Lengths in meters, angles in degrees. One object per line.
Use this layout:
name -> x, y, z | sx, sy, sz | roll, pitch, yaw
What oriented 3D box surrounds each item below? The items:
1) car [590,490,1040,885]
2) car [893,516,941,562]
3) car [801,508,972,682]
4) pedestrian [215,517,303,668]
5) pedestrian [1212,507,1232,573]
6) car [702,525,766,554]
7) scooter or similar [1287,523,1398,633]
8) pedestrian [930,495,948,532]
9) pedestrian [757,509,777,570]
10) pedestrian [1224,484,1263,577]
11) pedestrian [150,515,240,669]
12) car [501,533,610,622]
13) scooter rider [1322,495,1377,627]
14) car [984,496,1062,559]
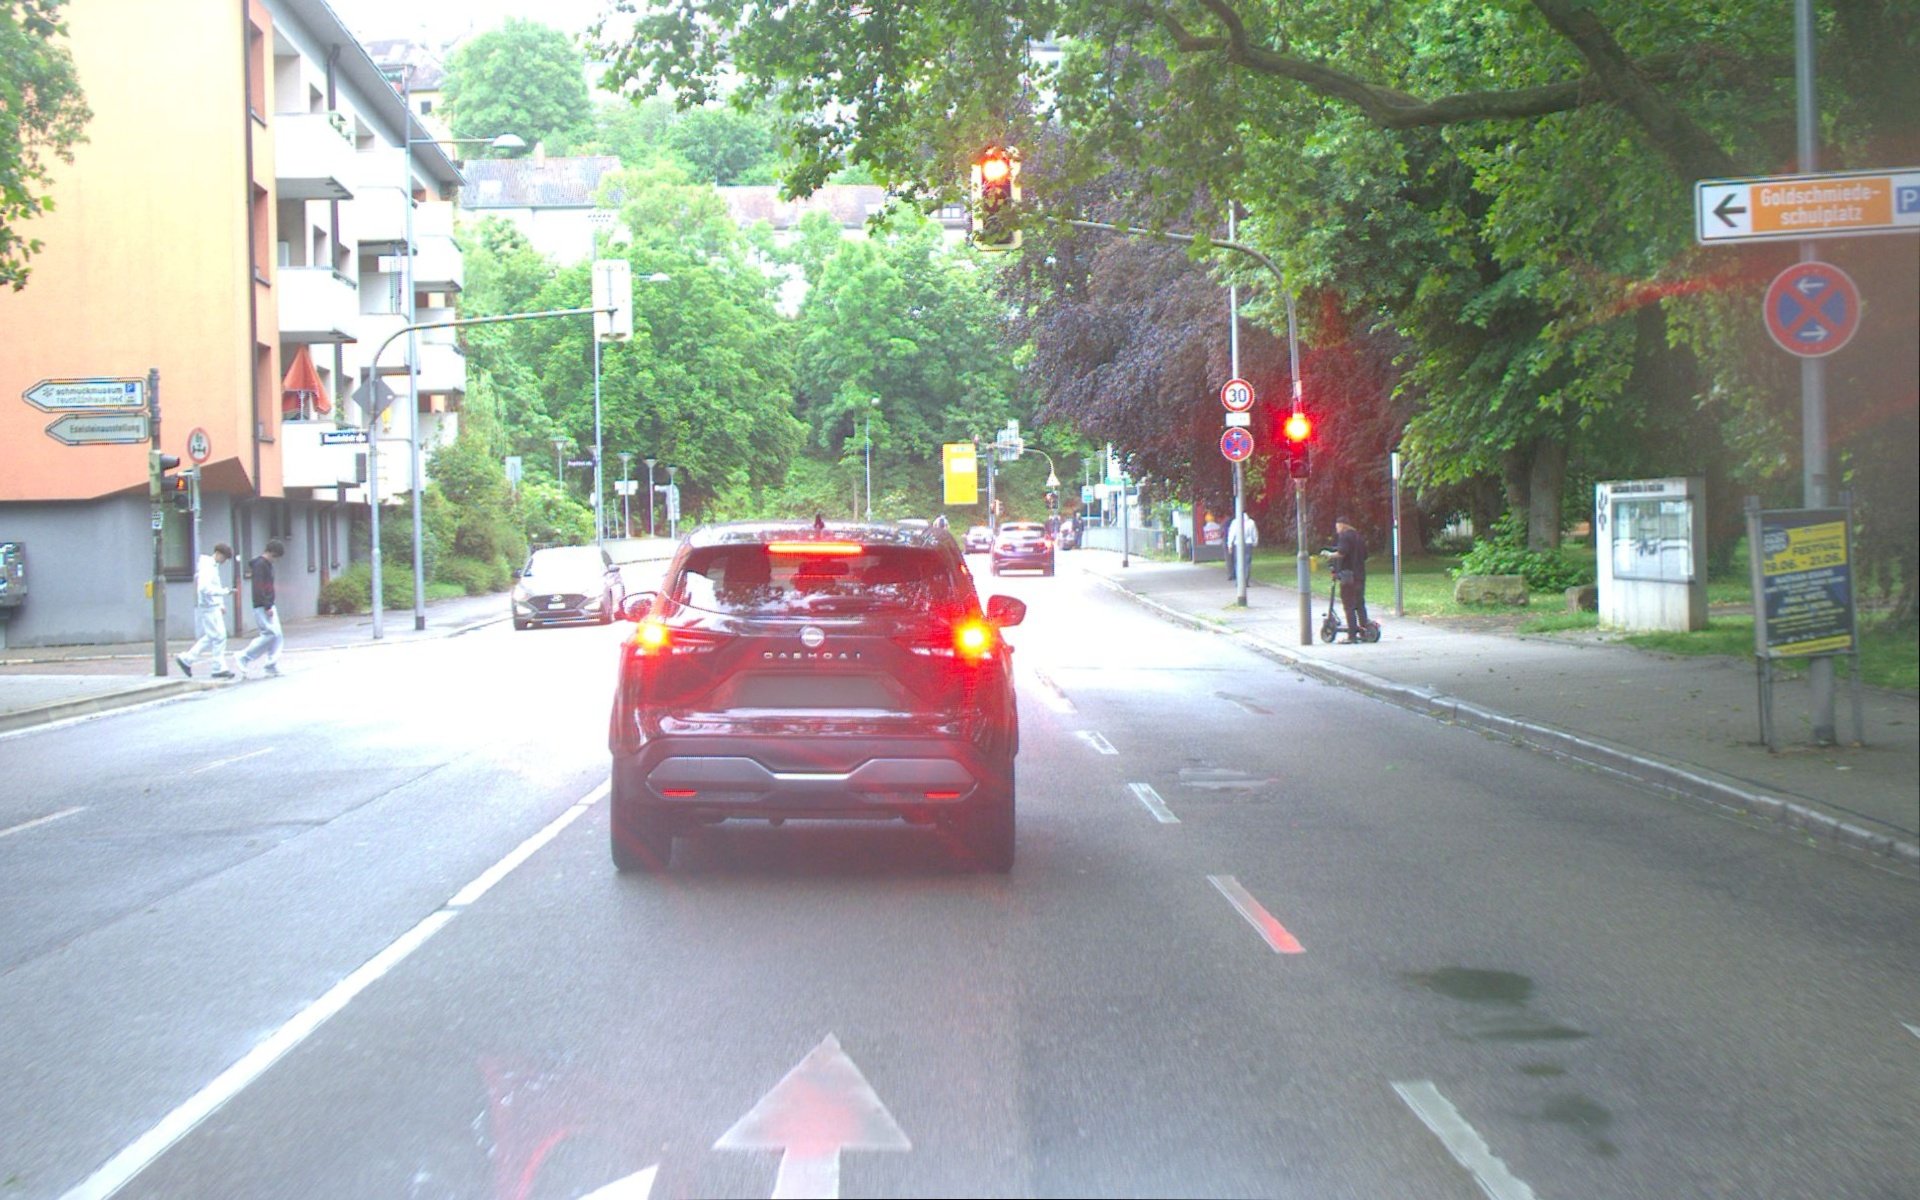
car -> -0.646, 0.326, 16.706 | 1.913, 1.674, 4.000 | 0, 1, -1
car -> -1.516, -2.165, 120.914 | 1.634, 1.527, 3.968 | -2, 1, -1
car -> -0.784, -0.097, 37.070 | 1.698, 1.739, 3.641 | -2, 1, -1
pedestrian -> -8.905, -0.102, 43.654 | 1.035, 1.869, 0.658 | -2, 1, -12
pedestrian -> 6.071, -1.395, 79.666 | 0.390, 1.497, 0.559 | -2, 1, -1
car -> -12.645, -3.400, 192.158 | 3.438, 1.546, 1.760 | 1, 1, -7
scooter or similar -> 5.154, -0.295, 46.293 | 1.394, 1.441, 0.816 | -1, 0, 12
pedestrian -> -0.957, -3.963, 157.608 | 0.509, 1.667, 0.658 | -1, 1, 27
pedestrian -> -5.766, -1.813, 102.887 | 0.508, 1.795, 0.619 | -2, 1, -1
pedestrian -> 6.199, -1.532, 75.259 | 0.725, 2.007, 0.851 | -2, 1, -1
pedestrian -> -9.518, -0.103, 42.795 | 1.035, 1.869, 0.658 | -2, 1, -12
car -> -7.462, -0.444, 63.760 | 1.795, 1.528, 3.868 | -2, 1, -4
scooter rider -> 5.245, -0.524, 46.286 | 0.643, 1.760, 0.735 | -1, 0, 13
car -> 1.815, -2.050, 98.012 | 1.994, 1.729, 4.000 | 1, 1, 4
